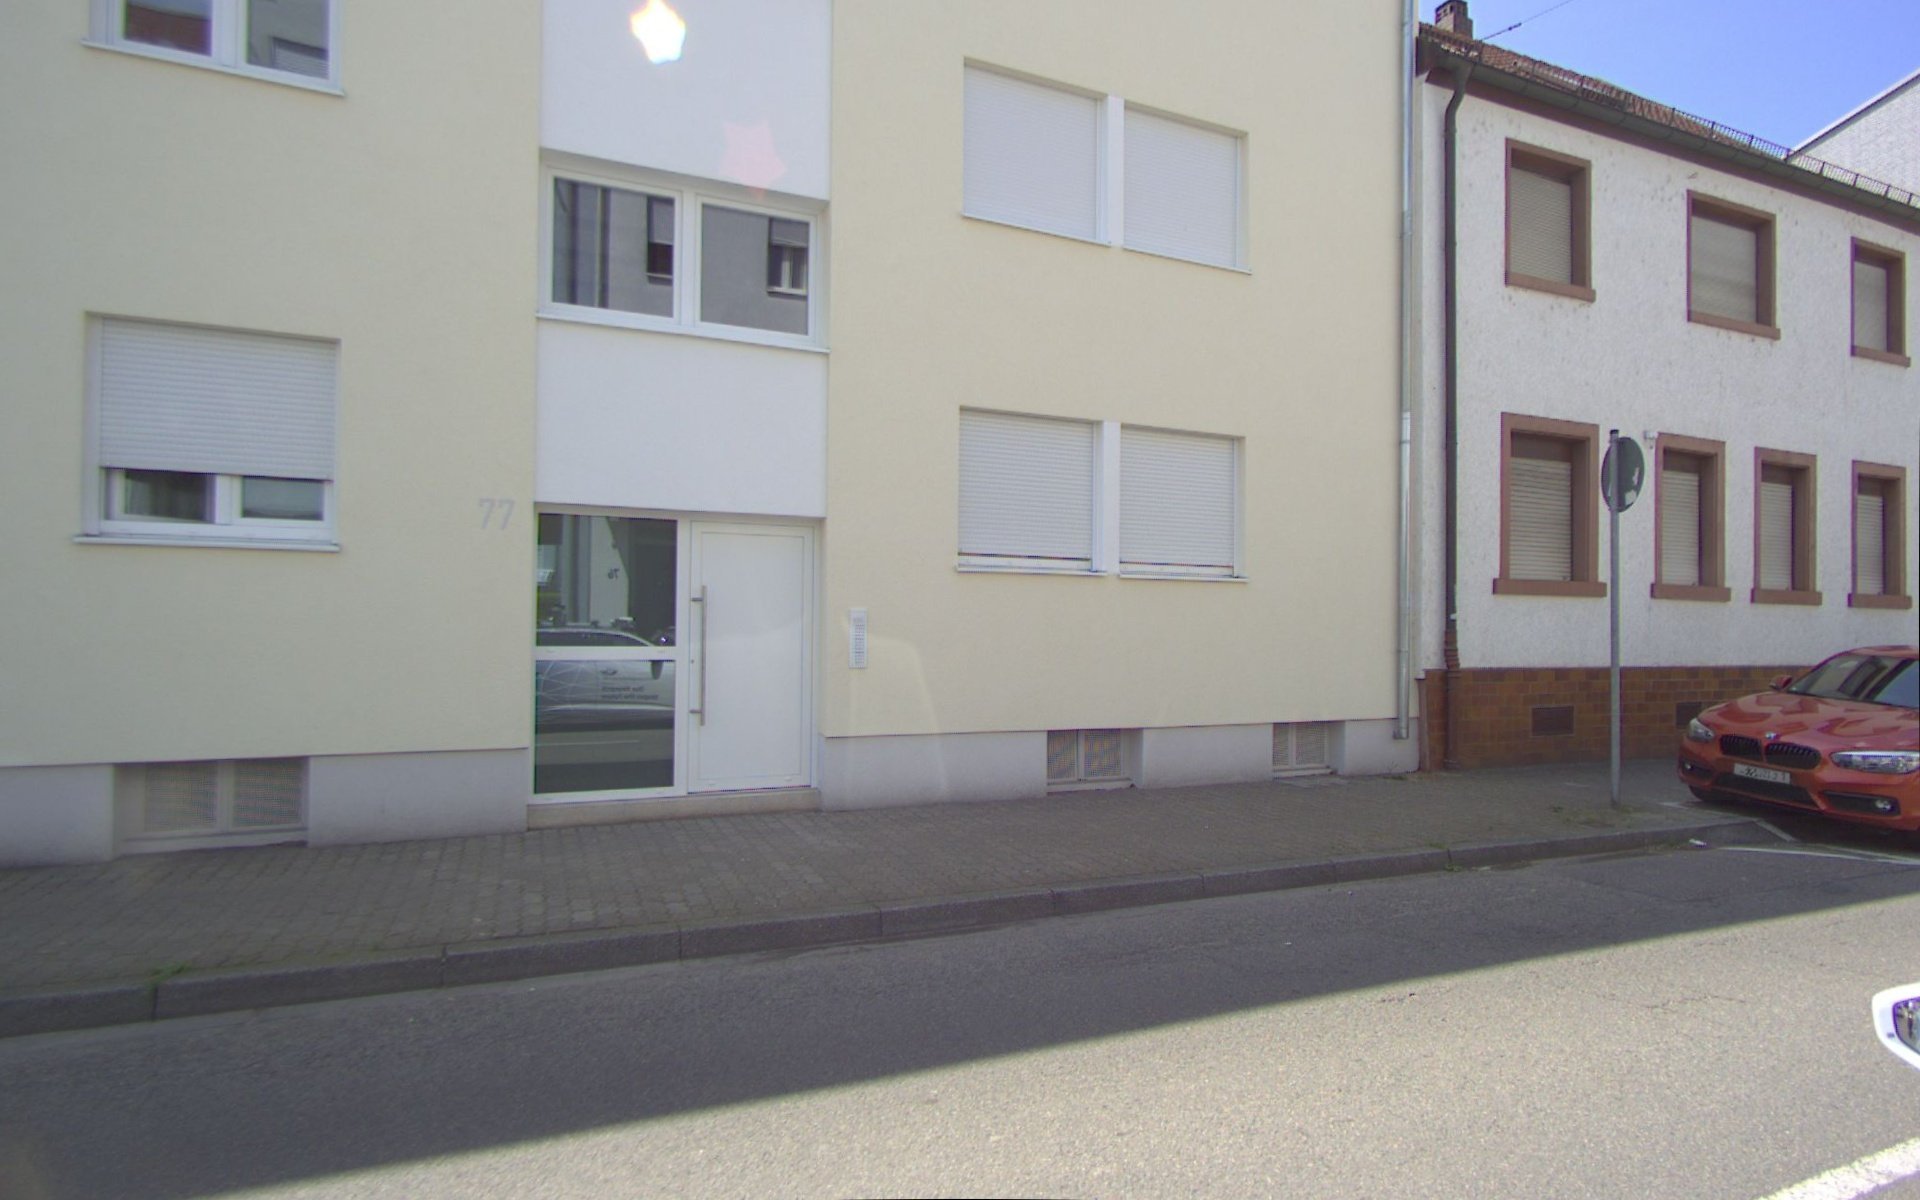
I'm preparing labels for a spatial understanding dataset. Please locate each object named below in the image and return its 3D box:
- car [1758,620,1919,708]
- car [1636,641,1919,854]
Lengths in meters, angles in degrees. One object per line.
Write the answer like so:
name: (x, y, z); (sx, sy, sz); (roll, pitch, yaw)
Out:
car: (18.095, 1.236, 20.646); (1.606, 1.560, 3.563); (1, 0, 21)
car: (8.090, 1.098, 8.557); (4.227, 1.435, 1.831); (1, -2, -22)
